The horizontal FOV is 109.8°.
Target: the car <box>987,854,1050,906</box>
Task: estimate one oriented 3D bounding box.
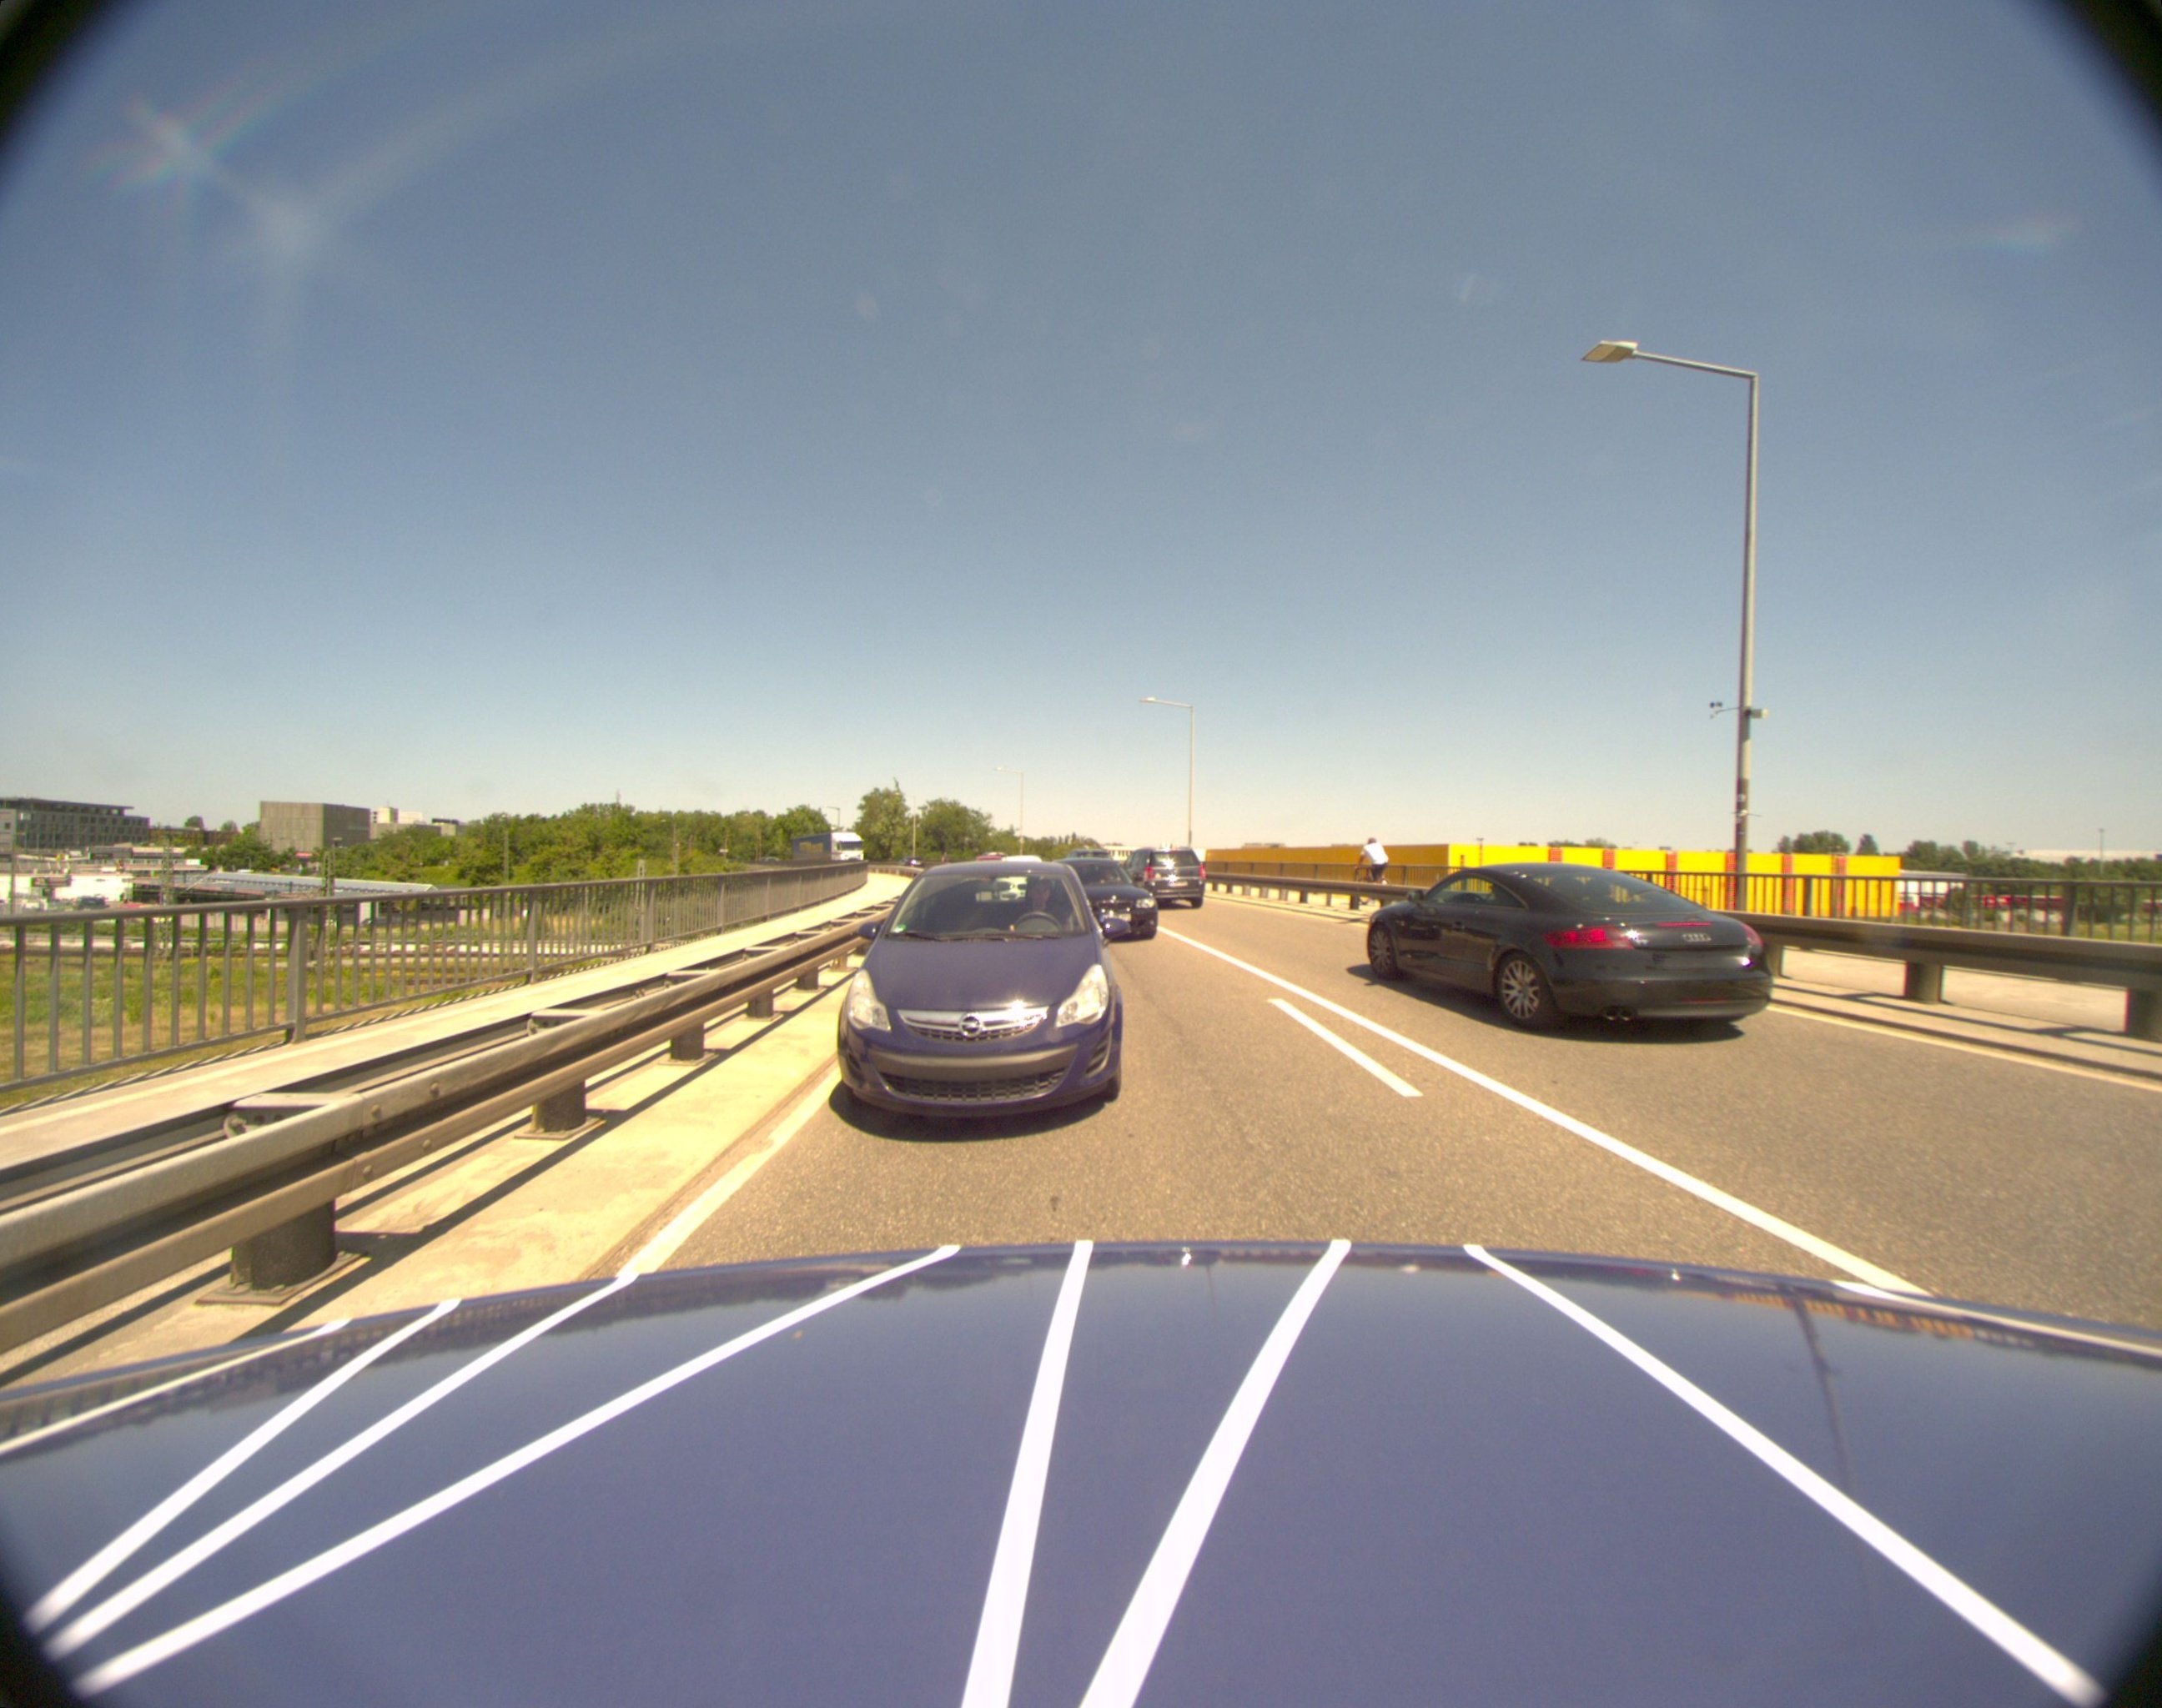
[{"bbox_3d":[-1.994,0.756,24.393,1.795,1.447,4.521,-2,1,-4],"label":"car"}]

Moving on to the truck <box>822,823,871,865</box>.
[{"bbox_3d":[-25.217,-1.031,81.577,2.701,4.205,6.821,-3,2,-37],"label":"truck"}]

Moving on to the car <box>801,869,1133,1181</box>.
[{"bbox_3d":[-0.692,0.905,5.884,1.645,1.431,3.998,-2,1,-4],"label":"car"}]

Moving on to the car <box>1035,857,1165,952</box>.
[{"bbox_3d":[0.186,0.822,14.647,1.795,1.447,4.519,-1,1,-7],"label":"car"}]

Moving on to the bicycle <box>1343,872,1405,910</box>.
[{"bbox_3d":[7.299,0.909,19.025,0.590,0.828,1.990,-1,1,-7],"label":"bicycle"}]

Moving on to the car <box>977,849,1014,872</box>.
[{"bbox_3d":[-6.209,0.469,54.866,1.744,1.571,4.169,-1,1,-20],"label":"car"}]

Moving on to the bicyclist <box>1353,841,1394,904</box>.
[{"bbox_3d":[7.290,0.452,18.971,0.585,1.512,0.895,-1,1,-7],"label":"bicyclist"}]

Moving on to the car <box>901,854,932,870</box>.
[{"bbox_3d":[-15.916,0.743,73.445,1.780,1.430,4.382,-1,1,-28],"label":"car"}]

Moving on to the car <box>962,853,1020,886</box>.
[{"bbox_3d":[-4.399,0.681,36.561,1.797,1.447,4.515,-1,1,-20],"label":"car"}]

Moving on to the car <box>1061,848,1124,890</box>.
[{"bbox_3d":[0.424,0.599,32.529,1.807,1.631,4.296,-1,0,-11],"label":"car"}]

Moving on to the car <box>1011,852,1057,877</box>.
[{"bbox_3d":[-2.788,0.594,44.615,1.704,1.368,3.993,-1,1,-18],"label":"car"}]

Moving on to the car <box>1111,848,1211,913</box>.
[{"bbox_3d":[2.099,0.658,21.209,1.712,1.617,4.249,-1,0,-9],"label":"car"}]

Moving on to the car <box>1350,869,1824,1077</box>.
[{"bbox_3d":[4.246,0.857,7.262,1.683,1.300,3.971,-1,0,-4],"label":"car"}]

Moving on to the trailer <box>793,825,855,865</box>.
[{"bbox_3d":[-29.764,-0.982,87.537,2.707,4.211,12.678,-3,2,-37],"label":"trailer"}]
